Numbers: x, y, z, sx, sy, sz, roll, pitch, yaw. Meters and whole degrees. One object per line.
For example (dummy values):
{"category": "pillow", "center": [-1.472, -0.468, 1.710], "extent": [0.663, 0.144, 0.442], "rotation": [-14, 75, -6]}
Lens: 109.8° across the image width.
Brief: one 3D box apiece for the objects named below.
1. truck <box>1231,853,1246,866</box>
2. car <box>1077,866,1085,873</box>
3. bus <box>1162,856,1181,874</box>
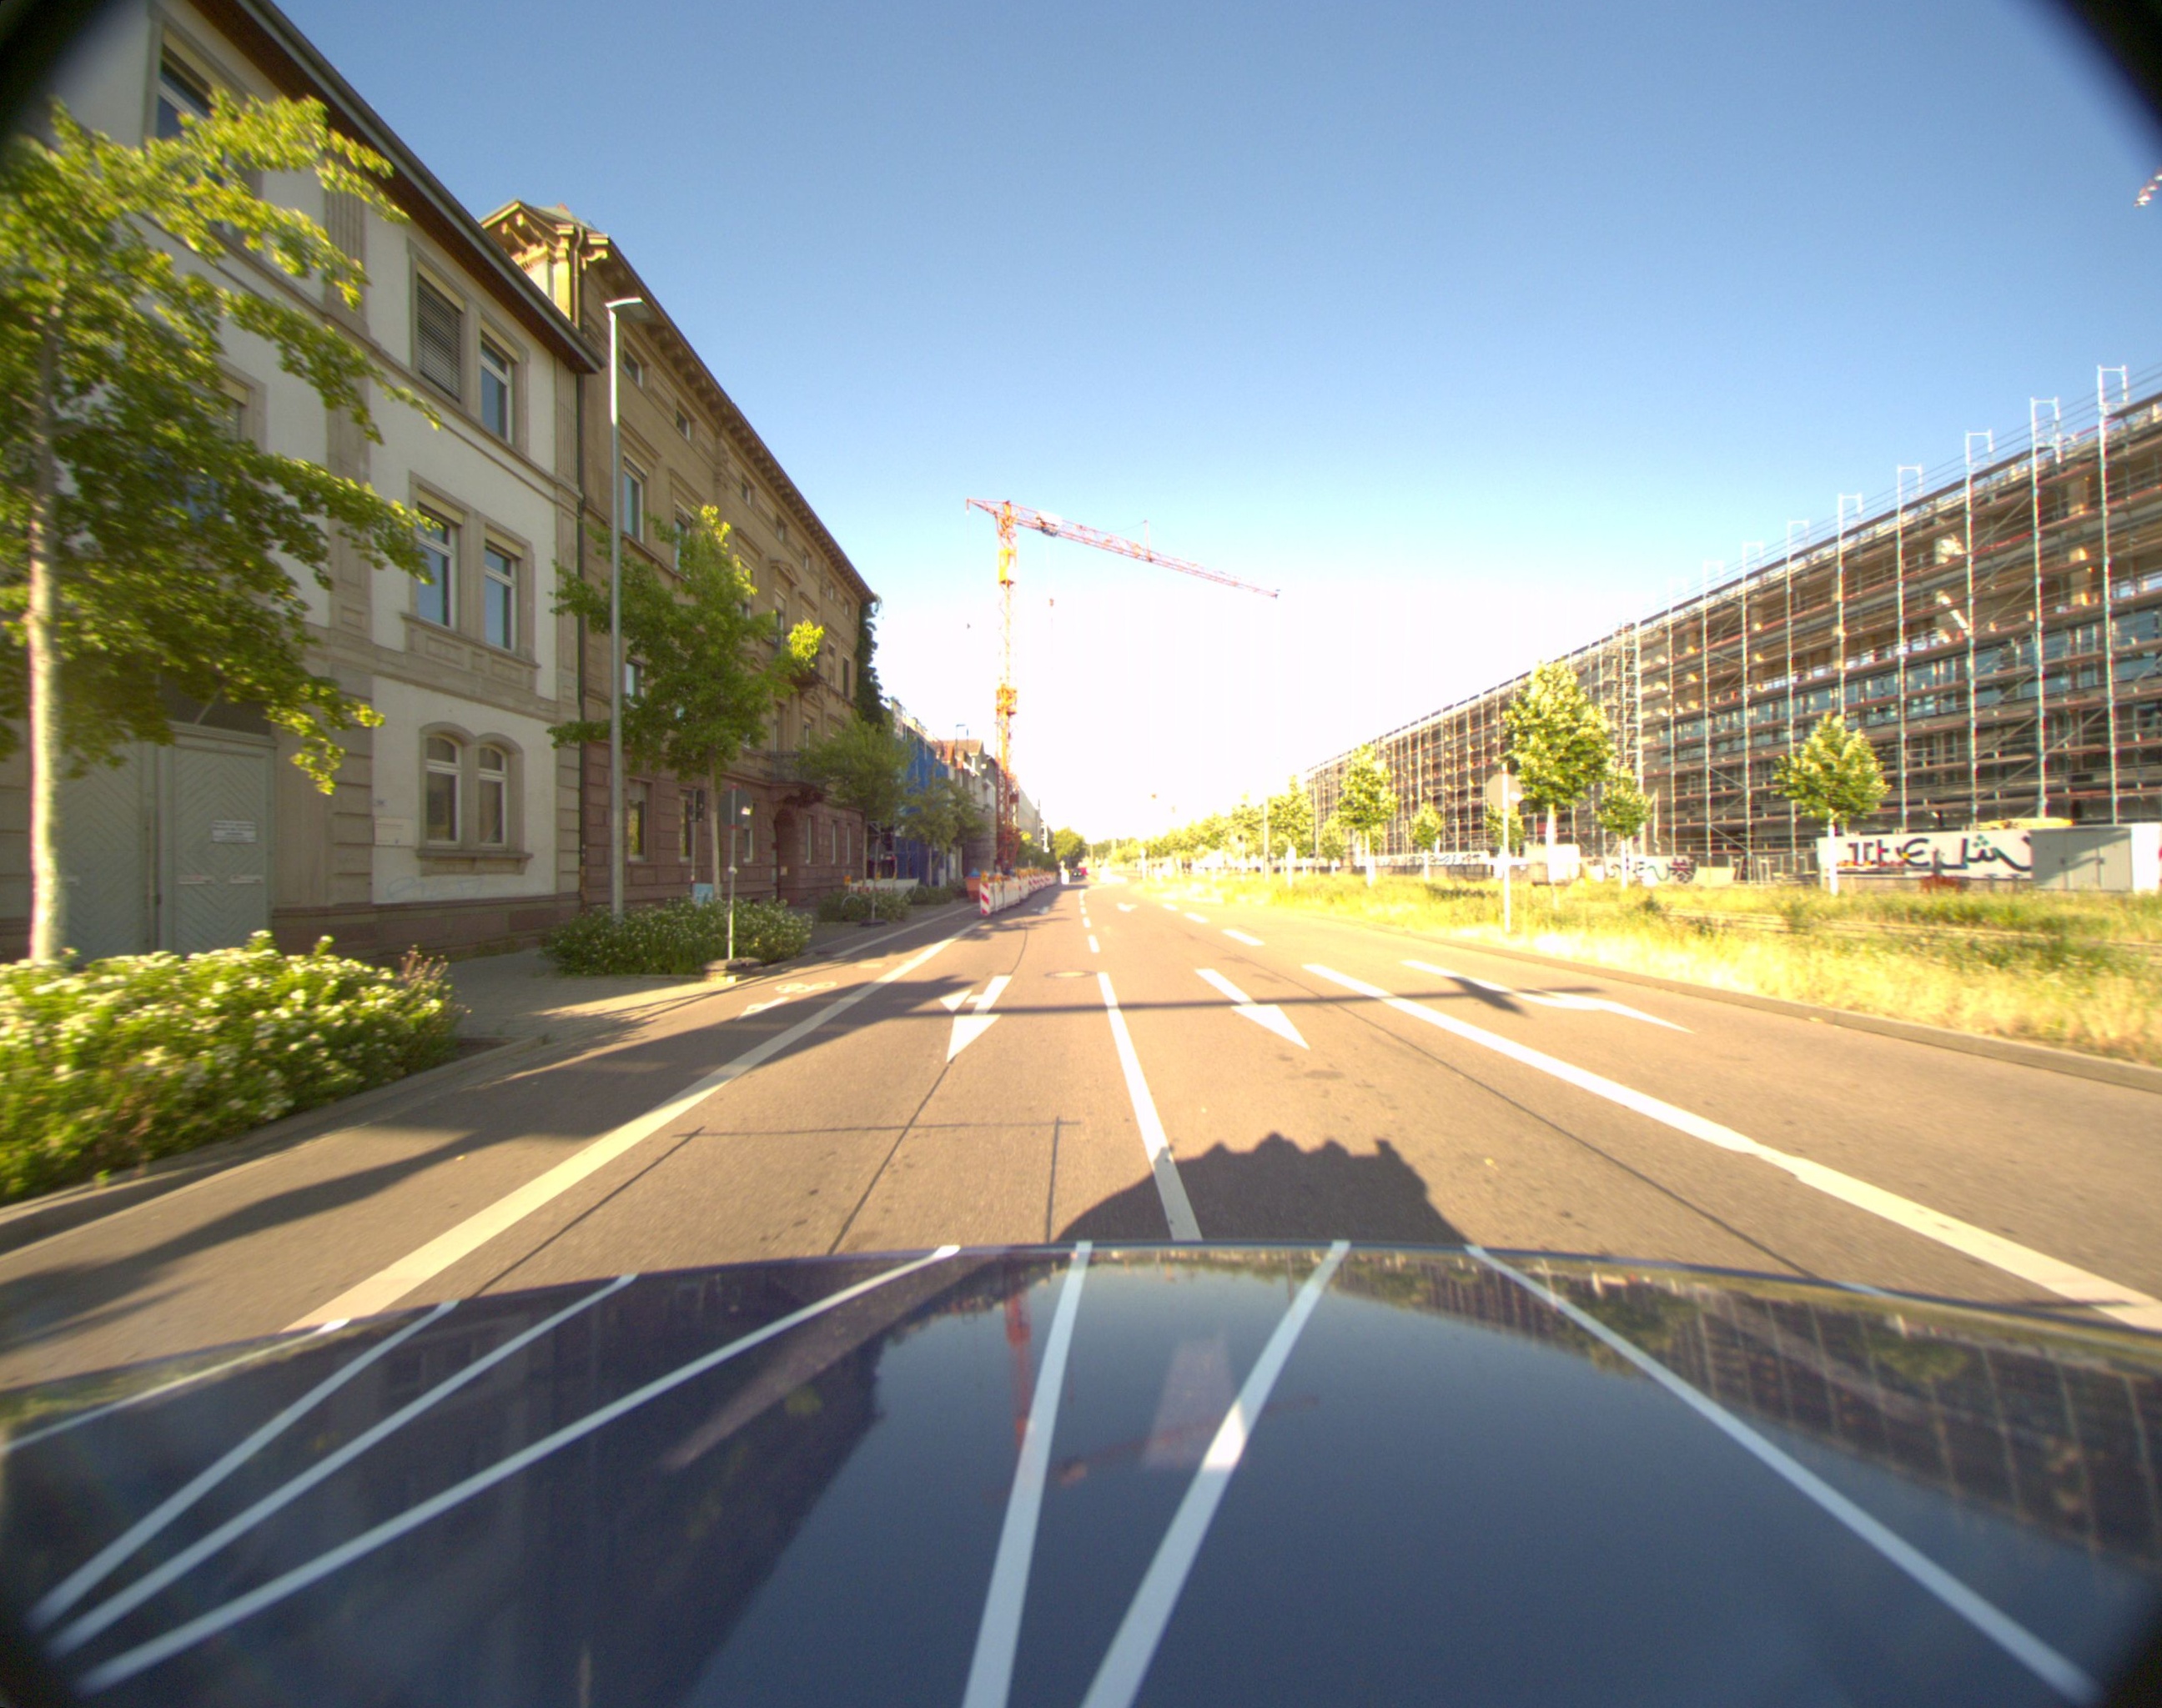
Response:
{"category": "truck", "center": [31.677, 1.102, 152.781], "extent": [2.143, 2.558, 4.741], "rotation": [-1, -1, 2]}
{"category": "car", "center": [0.087, 4.091, 203.650], "extent": [1.998, 1.696, 4.000], "rotation": [-1, 0, 1]}
{"category": "bus", "center": [16.584, 1.983, 139.516], "extent": [2.723, 3.203, 8.658], "rotation": [-1, -1, 2]}
